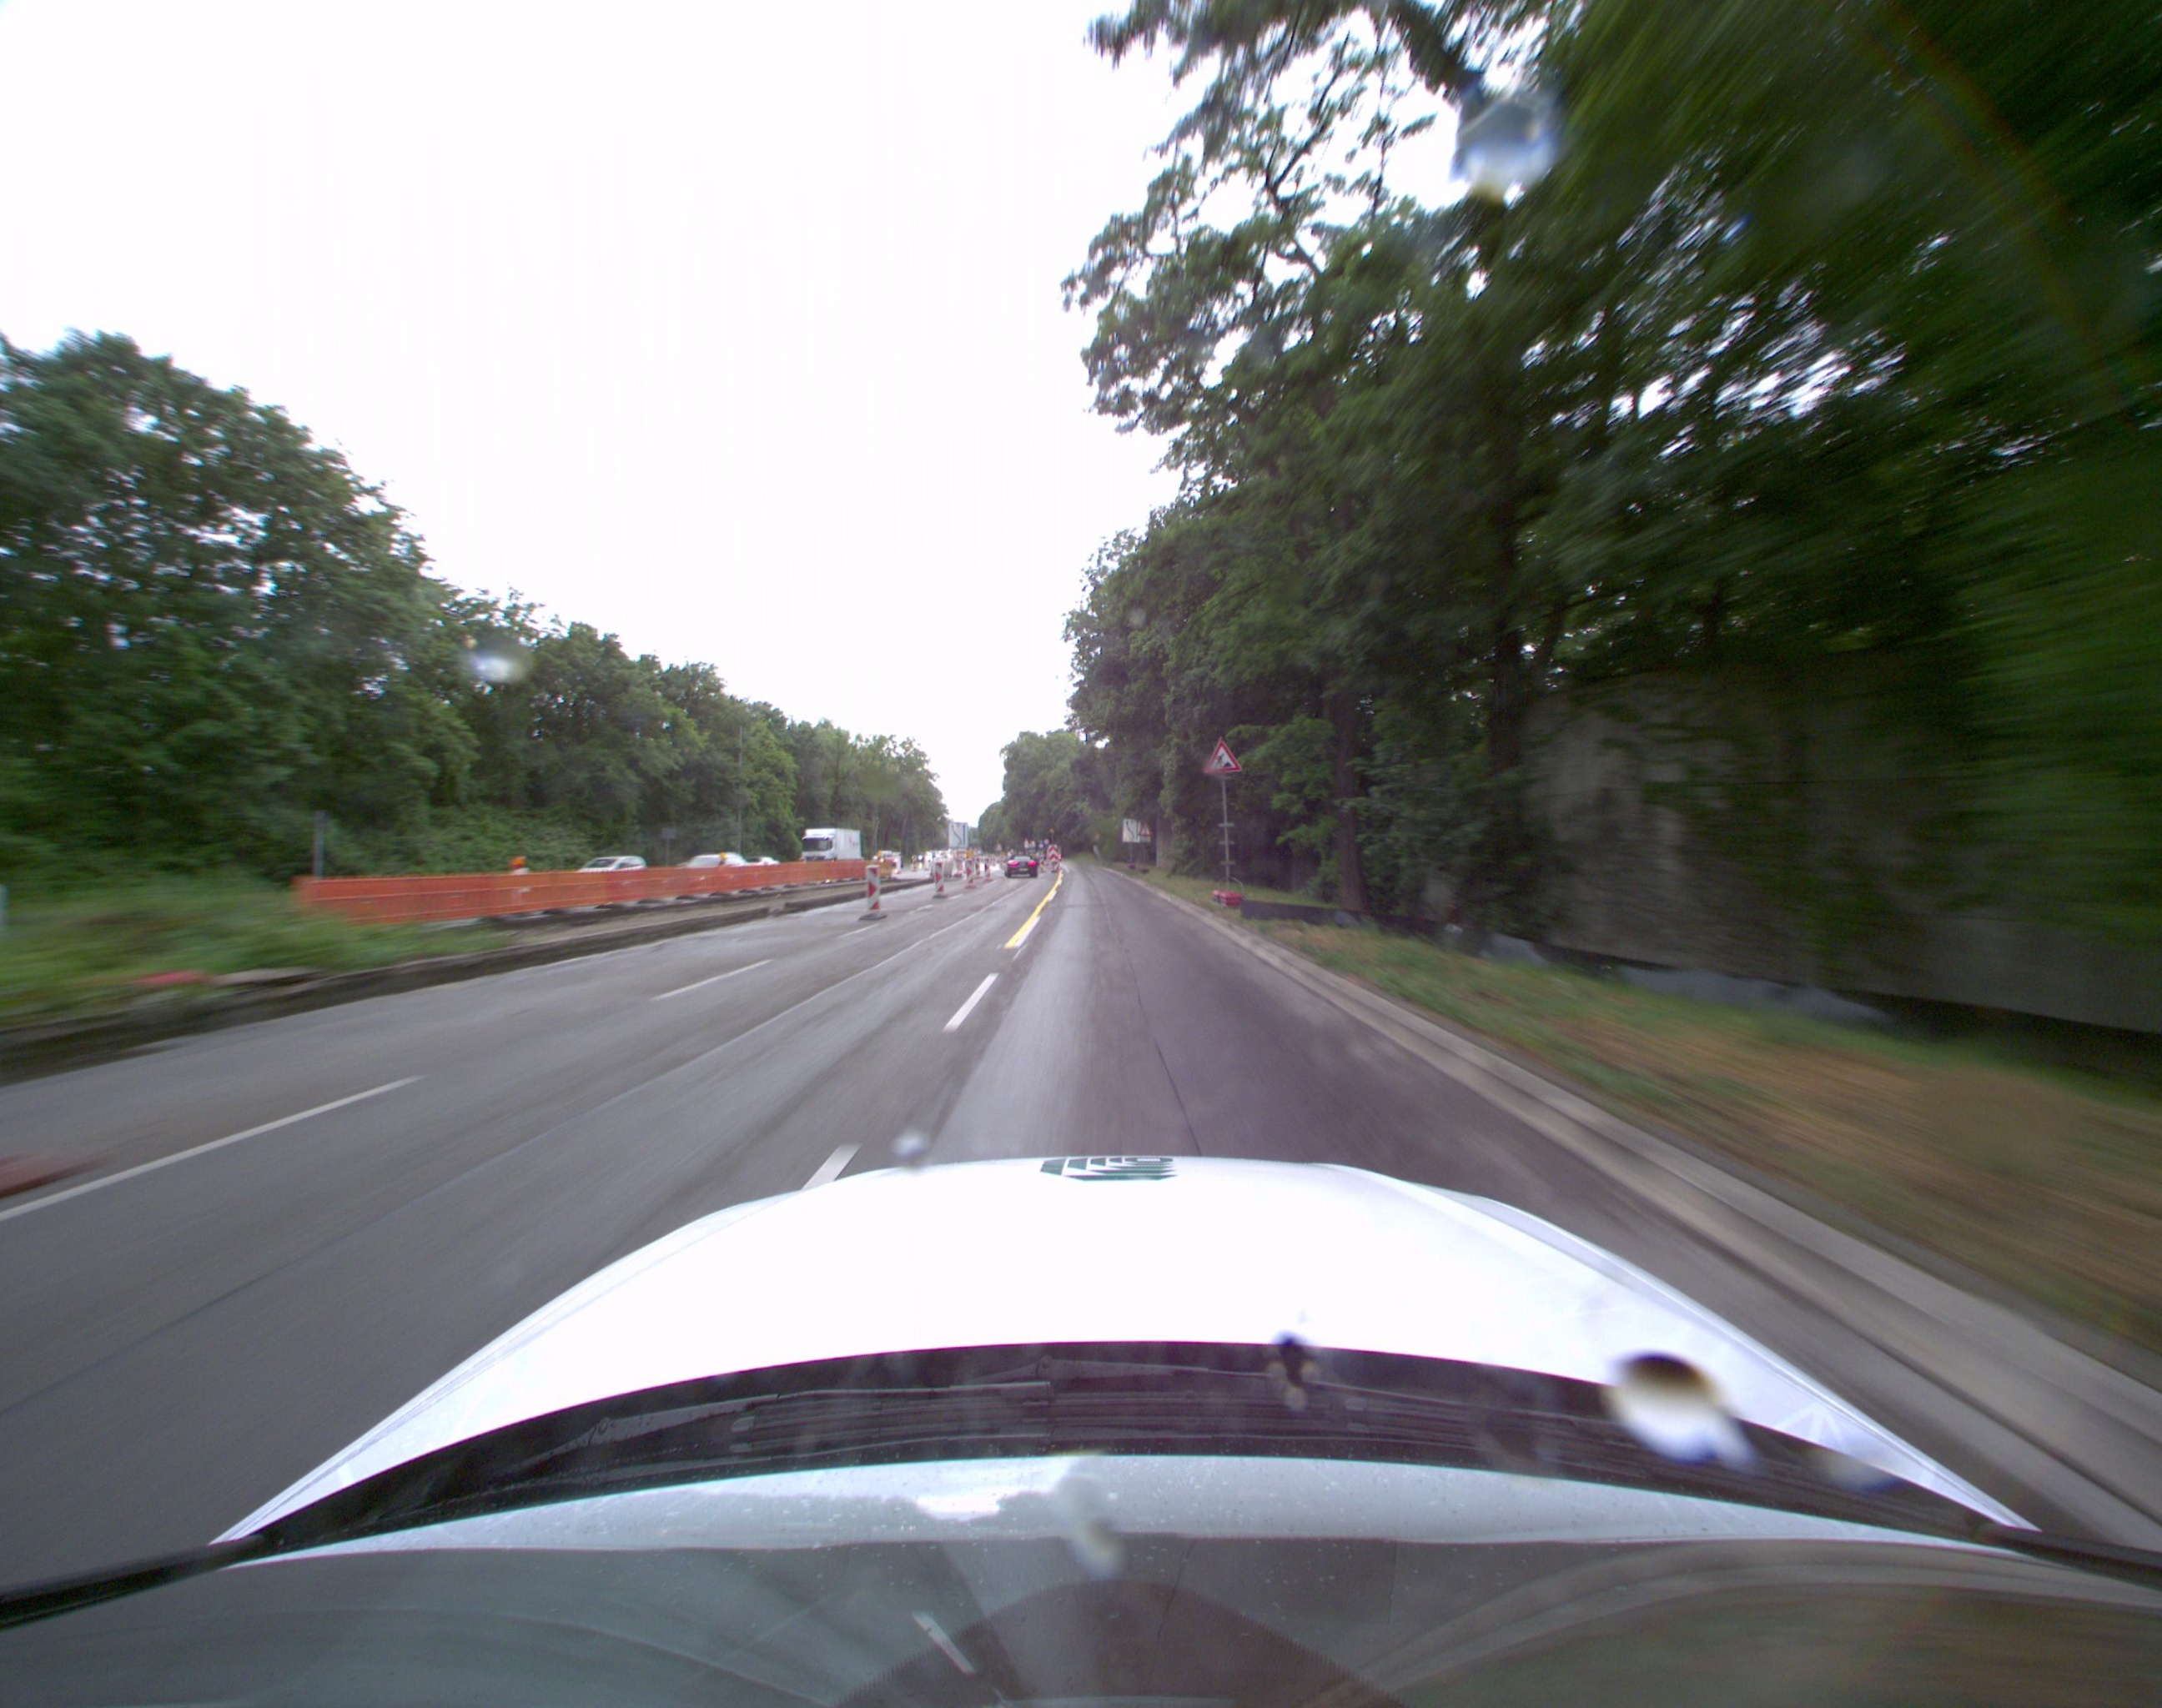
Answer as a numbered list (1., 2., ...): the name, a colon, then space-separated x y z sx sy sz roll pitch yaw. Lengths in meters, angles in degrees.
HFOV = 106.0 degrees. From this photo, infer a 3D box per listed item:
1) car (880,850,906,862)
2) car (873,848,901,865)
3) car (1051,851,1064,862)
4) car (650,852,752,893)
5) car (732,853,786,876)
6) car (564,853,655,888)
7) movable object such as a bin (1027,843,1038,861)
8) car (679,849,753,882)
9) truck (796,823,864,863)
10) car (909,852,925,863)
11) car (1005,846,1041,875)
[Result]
1. car: -18.863 0.217 81.787 1.600 1.152 4.283 -1 0 1
2. car: -21.743 0.209 91.349 1.838 1.723 4.720 -4 0 1
3. car: -3.805 0.355 131.886 1.910 1.598 4.828 0 1 -4
4. car: -15.312 0.680 33.110 1.849 1.486 4.680 -1 1 1
5. car: -21.132 0.664 53.656 1.804 1.379 4.369 -1 0 1
6. car: -21.195 0.705 36.800 1.785 1.425 3.897 -1 0 1
7. movable object such as a bin: -7.870 -0.373 132.200 1.744 2.867 3.528 -1 0 -5
8. car: -18.306 0.539 41.059 1.828 1.550 4.040 -1 0 1
9. truck: -21.185 -0.926 69.416 2.788 3.148 10.142 -1 0 -1
10. car: -25.051 0.539 124.562 1.631 1.647 4.197 -2 1 -1
11. car: -3.494 0.359 49.826 1.855 1.491 4.002 1 3 1
